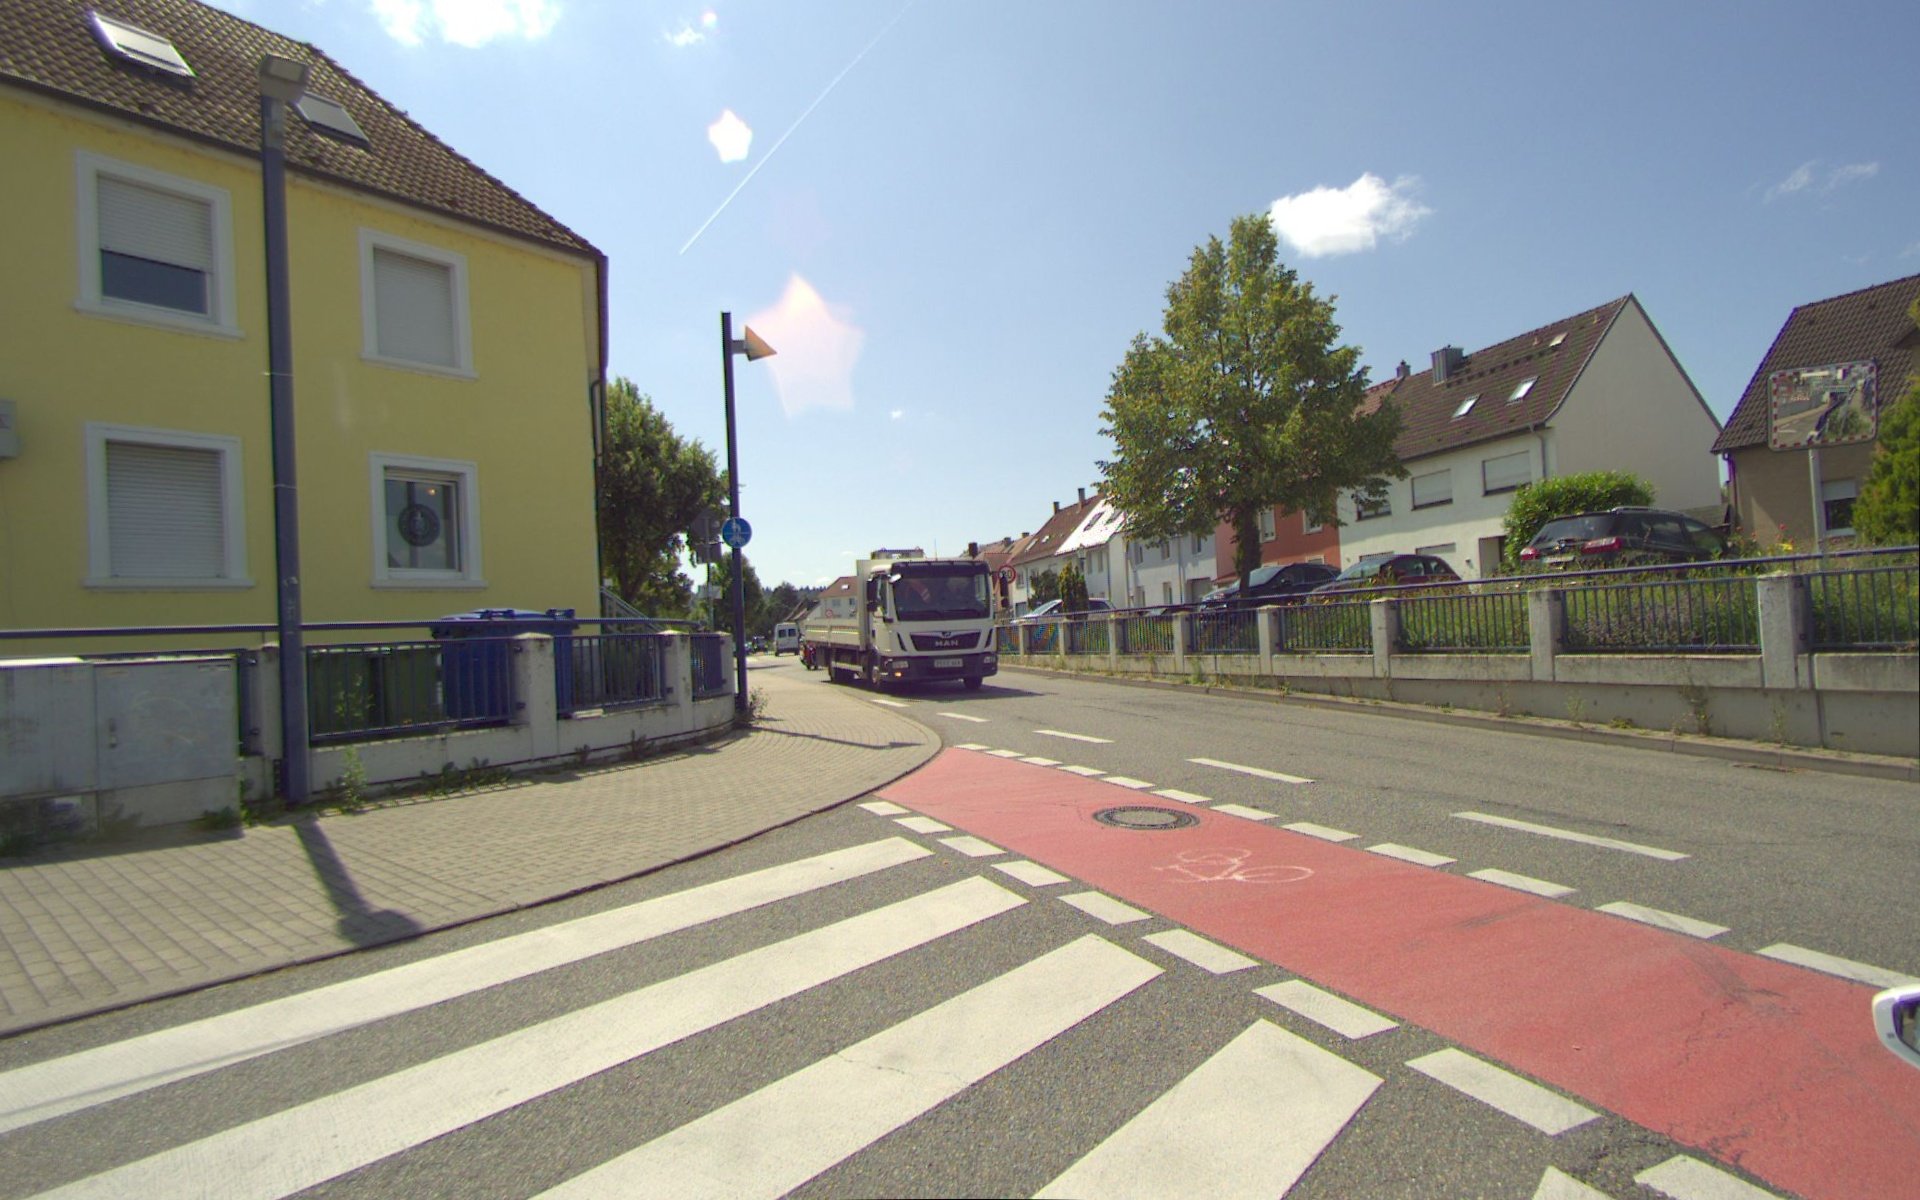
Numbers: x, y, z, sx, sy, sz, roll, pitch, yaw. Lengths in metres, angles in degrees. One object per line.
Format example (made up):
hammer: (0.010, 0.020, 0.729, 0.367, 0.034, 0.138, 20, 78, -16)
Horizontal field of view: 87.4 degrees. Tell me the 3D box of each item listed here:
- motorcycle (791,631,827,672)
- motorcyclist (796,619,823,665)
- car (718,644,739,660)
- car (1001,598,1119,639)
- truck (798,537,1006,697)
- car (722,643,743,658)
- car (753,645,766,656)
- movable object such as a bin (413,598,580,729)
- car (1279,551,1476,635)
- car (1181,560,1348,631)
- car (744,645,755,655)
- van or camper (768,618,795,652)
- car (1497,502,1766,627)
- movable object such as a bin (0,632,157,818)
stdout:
motorcycle: (-5.068, 1.691, 33.578, 0.718, 1.308, 2.133, 0, -2, -22)
motorcyclist: (-5.039, 1.389, 33.553, 0.718, 1.521, 0.766, 1, 0, -23)
car: (-22.972, 5.160, 99.689, 1.965, 1.416, 3.991, -2, -1, -13)
car: (3.862, 0.686, 38.835, 4.190, 1.508, 1.740, 0, 1, -19)
truck: (-1.650, 0.457, 22.611, 2.578, 2.914, 8.039, 0, -2, -19)
car: (-24.688, 5.485, 109.208, 1.964, 1.416, 3.993, -2, -1, -10)
car: (-31.048, 7.847, 155.573, 1.782, 1.416, 3.993, -3, -1, -10)
movable object such as a bin: (-4.668, 0.617, 10.179, 0.827, 1.229, 1.275, -3, -2, 26)
car: (8.603, -0.138, 20.717, 3.561, 1.608, 1.861, 0, 1, -25)
car: (7.367, -0.109, 24.327, 3.561, 1.608, 1.861, 0, 1, -25)
car: (-35.717, 8.448, 170.501, 1.782, 1.416, 3.993, -3, -1, -10)
van or camper: (-14.634, 2.793, 82.153, 1.970, 2.665, 5.381, 1, -1, -12)
car: (10.880, -0.522, 16.286, 3.946, 1.821, 1.861, 0, 1, -25)
movable object such as a bin: (-6.645, 0.887, 7.470, 0.875, 1.241, 0.897, -3, -2, 41)
